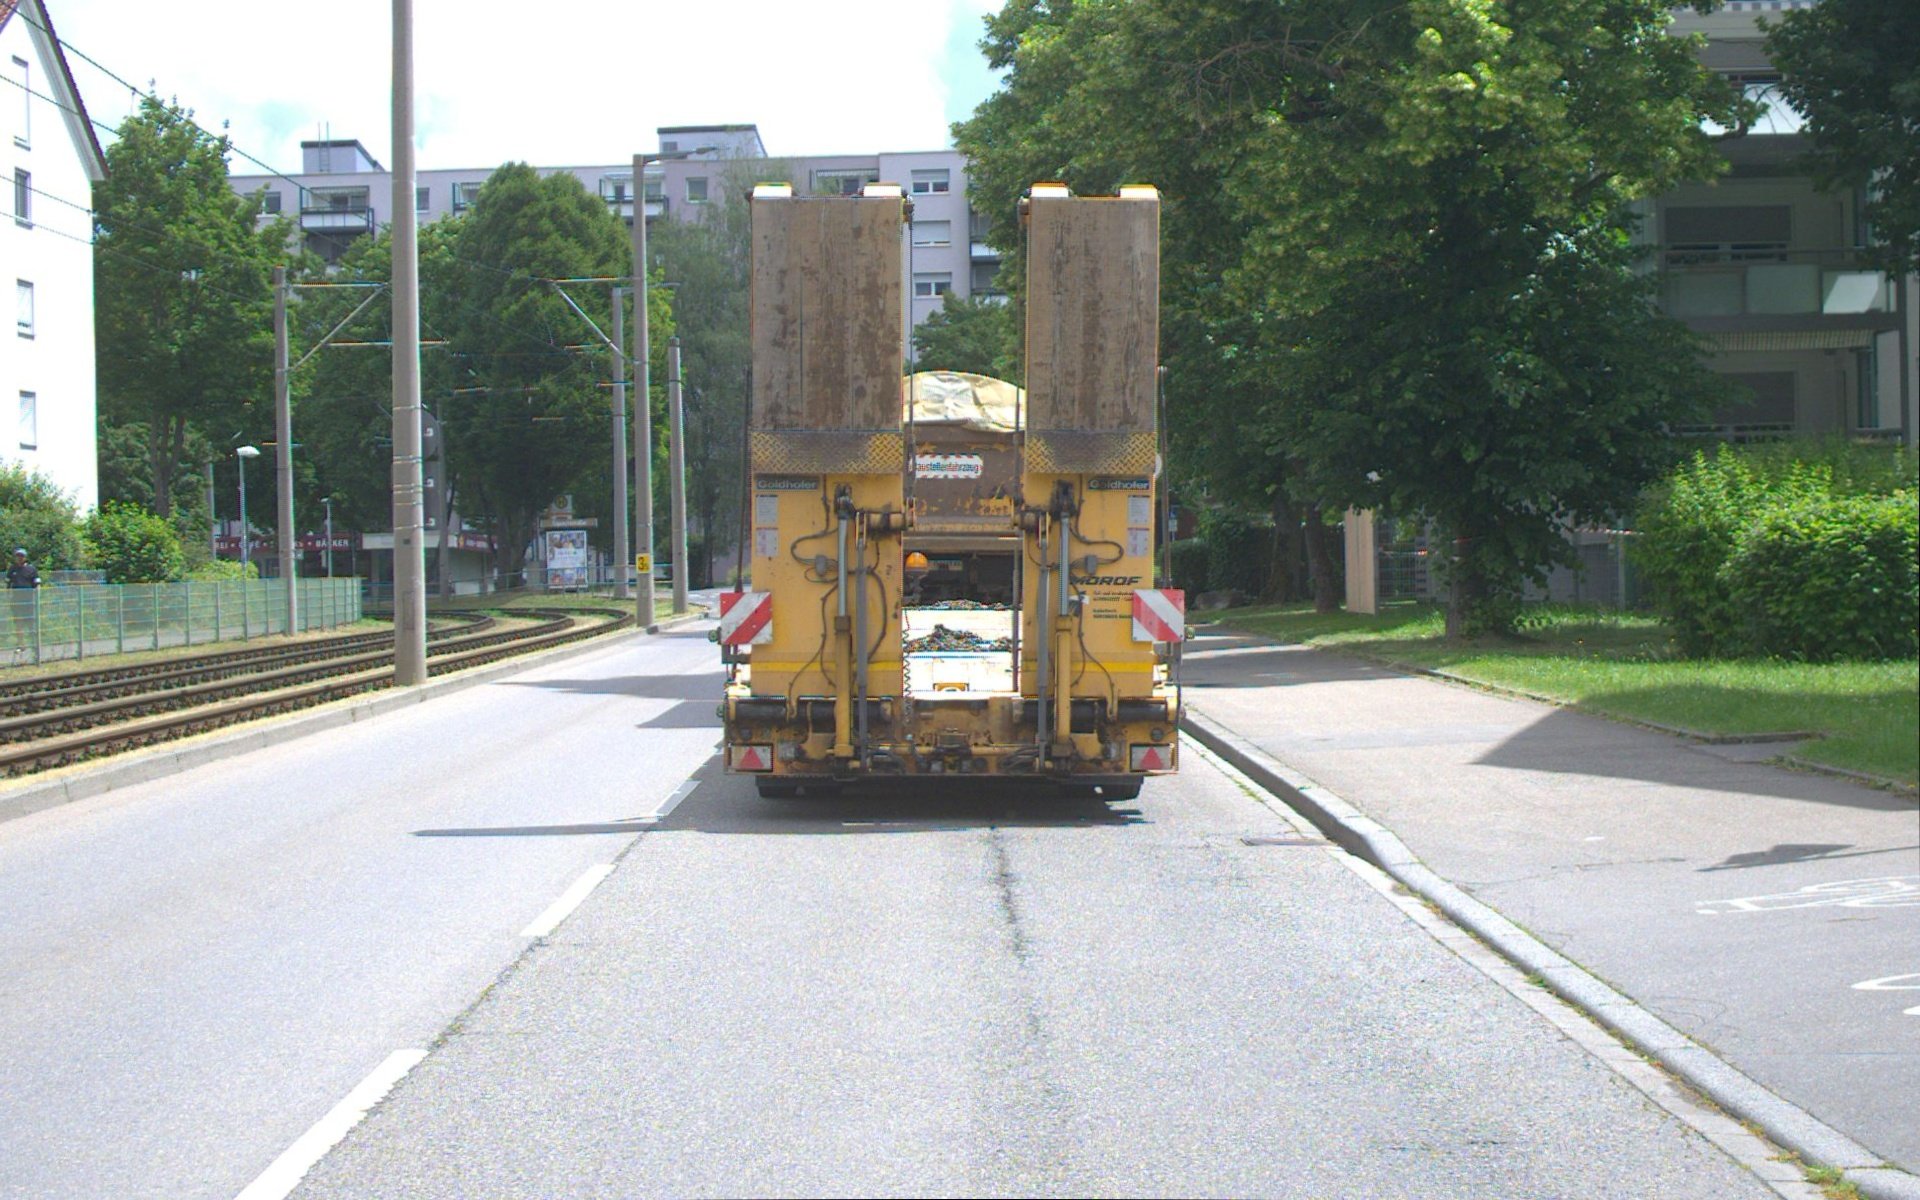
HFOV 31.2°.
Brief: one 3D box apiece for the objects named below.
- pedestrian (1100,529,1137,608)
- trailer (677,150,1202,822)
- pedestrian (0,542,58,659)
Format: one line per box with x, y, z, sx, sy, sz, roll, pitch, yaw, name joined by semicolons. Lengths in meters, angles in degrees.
3.492;-0.701;75.694;0.718;1.700;0.766;-2;1;0;pedestrian
-0.304;-0.711;24.928;2.827;3.633;12.355;1;1;-2;trailer
-14.905;0.000;55.056;0.659;1.842;0.768;-2;1;0;pedestrian
